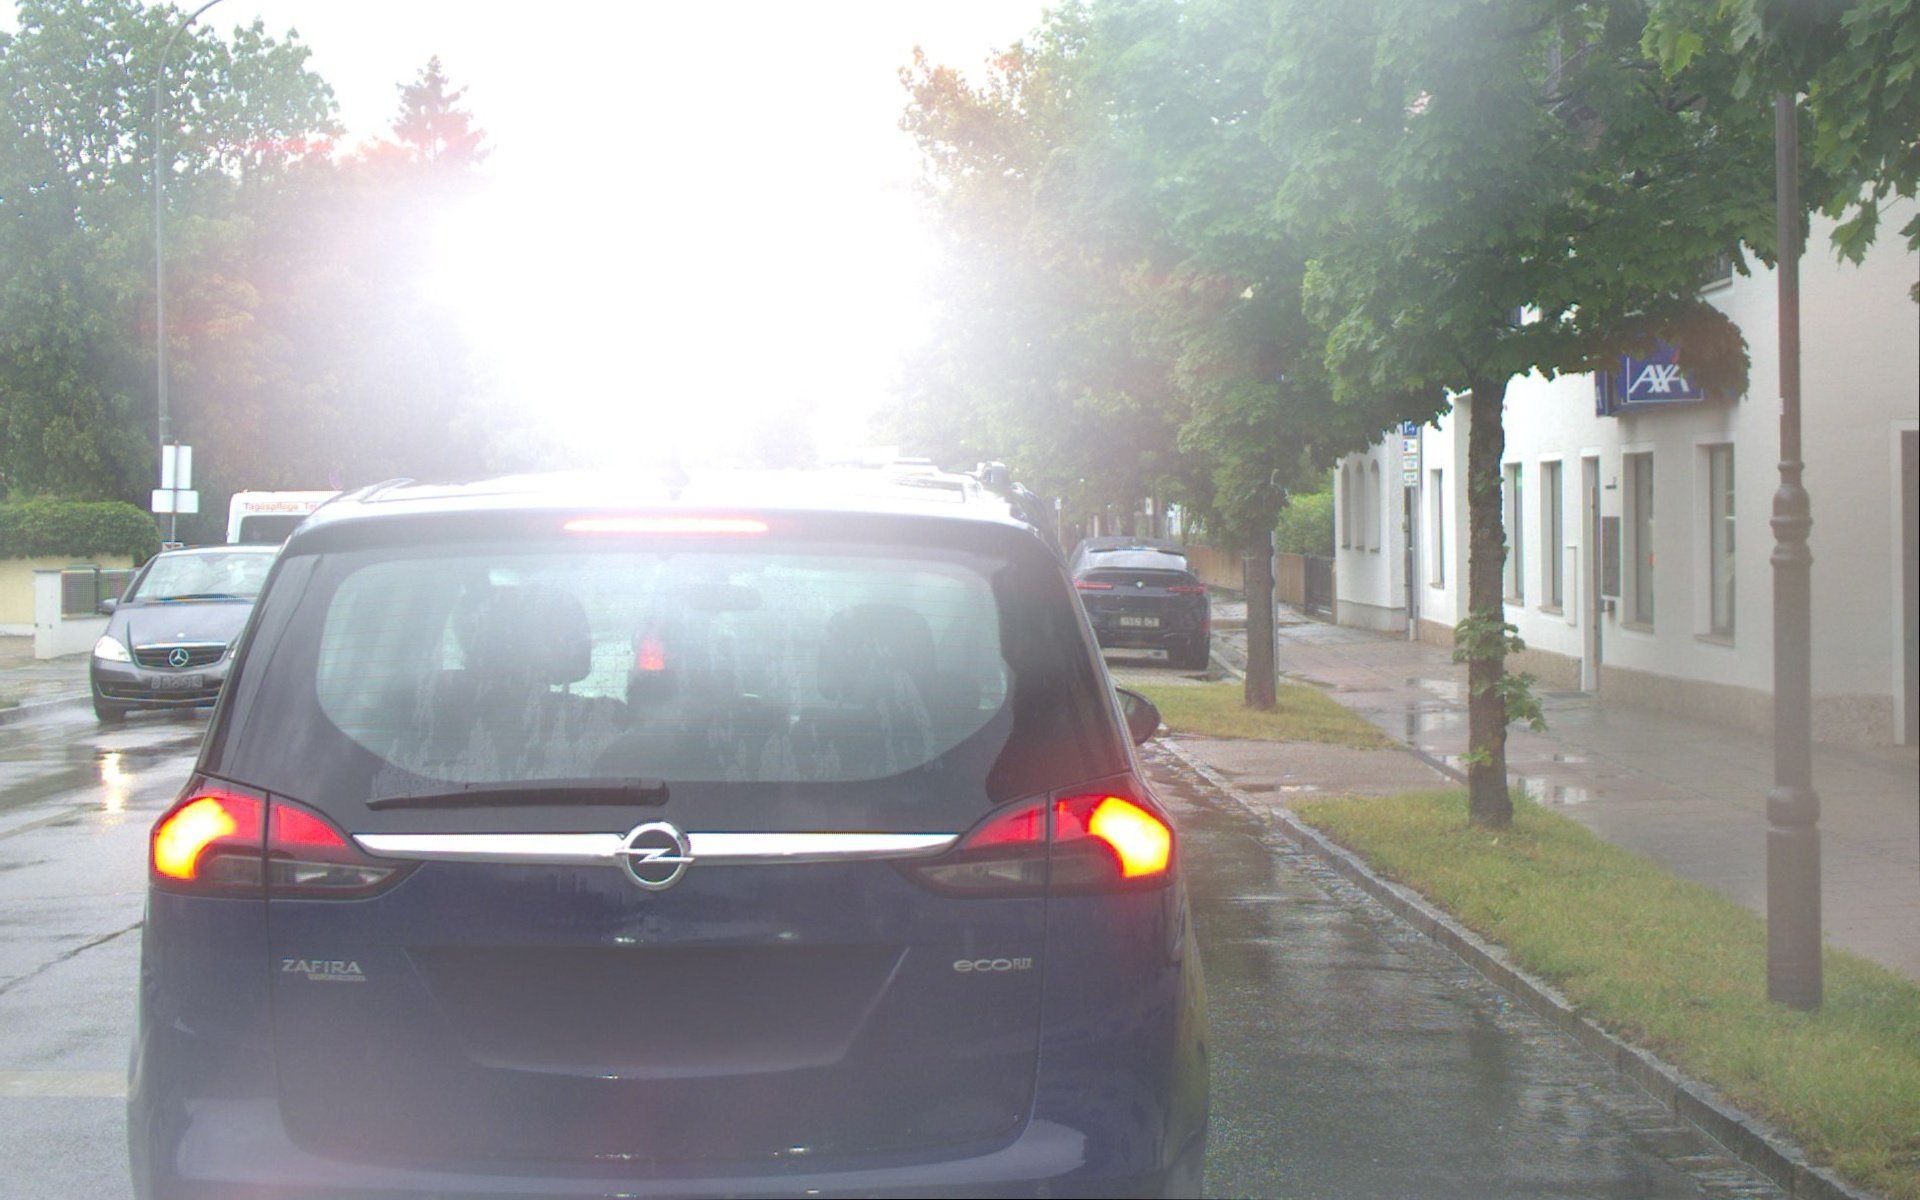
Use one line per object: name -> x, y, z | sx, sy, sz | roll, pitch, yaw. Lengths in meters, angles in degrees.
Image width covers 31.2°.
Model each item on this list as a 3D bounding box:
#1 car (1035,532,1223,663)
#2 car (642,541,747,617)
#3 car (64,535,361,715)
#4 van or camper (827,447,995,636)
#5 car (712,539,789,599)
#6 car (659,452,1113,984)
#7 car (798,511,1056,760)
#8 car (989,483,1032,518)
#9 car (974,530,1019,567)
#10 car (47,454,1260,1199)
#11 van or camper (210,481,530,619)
car -> 2.127, -0.055, 44.302 | 2.117, 1.576, 3.936 | 1, 1, -1
car -> -5.704, -0.479, 74.413 | 1.967, 1.557, 4.152 | -1, 1, -1
car -> -6.851, 0.182, 31.899 | 1.915, 1.528, 3.899 | -1, 1, -1
van or camper -> -0.727, -0.880, 51.527 | 2.360, 2.656, 5.372 | -1, 1, -1
car -> -5.698, -0.867, 93.989 | 1.926, 1.561, 4.126 | -1, 1, -1
car -> -0.267, 0.373, 13.159 | 1.500, 1.770, 3.112 | 1, 1, -1
car -> -0.246, 0.211, 25.440 | 1.756, 1.700, 3.619 | -1, 1, -1
car -> 2.090, -4.115, 142.375 | 1.630, 1.373, 3.623 | -1, 1, -1
car -> 1.396, -1.994, 132.840 | 1.630, 1.373, 3.623 | 1, 0, -1
car -> -0.477, 0.569, 6.903 | 1.768, 1.599, 3.663 | 1, 1, -1
van or camper -> -11.854, -1.029, 69.478 | 6.246, 2.698, 2.101 | -1, 1, -6
